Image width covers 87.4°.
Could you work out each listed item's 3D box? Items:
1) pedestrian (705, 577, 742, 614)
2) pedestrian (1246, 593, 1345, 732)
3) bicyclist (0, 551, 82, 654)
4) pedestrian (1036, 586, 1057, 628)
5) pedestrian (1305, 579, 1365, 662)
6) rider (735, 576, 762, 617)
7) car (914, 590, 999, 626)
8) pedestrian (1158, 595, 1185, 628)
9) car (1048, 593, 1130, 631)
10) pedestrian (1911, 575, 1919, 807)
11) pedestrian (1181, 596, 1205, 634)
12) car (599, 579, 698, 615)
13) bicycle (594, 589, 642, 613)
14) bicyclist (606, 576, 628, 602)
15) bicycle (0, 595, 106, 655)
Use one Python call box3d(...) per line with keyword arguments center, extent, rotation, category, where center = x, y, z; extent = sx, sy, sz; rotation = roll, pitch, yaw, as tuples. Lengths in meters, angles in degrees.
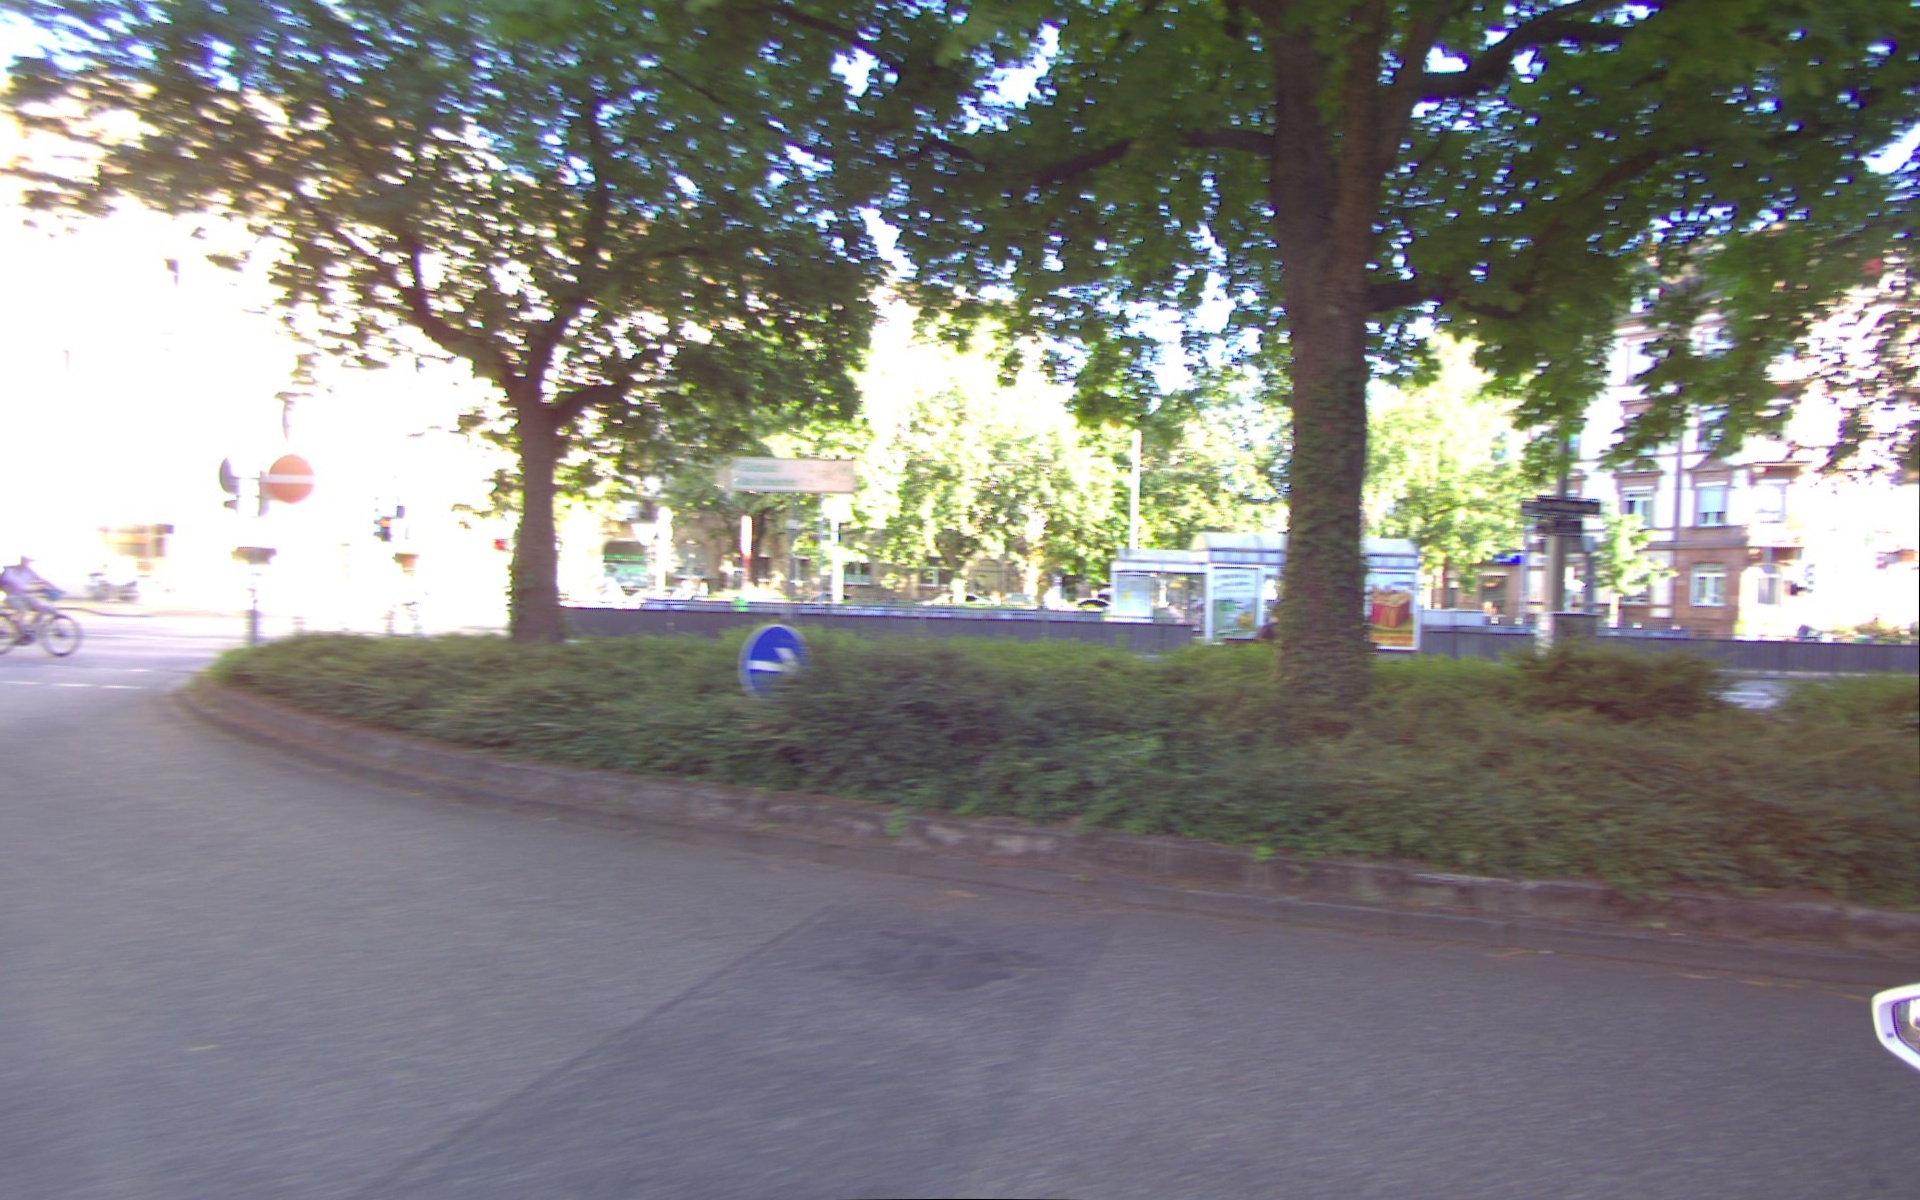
box3d(center=(-12.603, -0.249, 53.533), extent=(1.482, 1.937, 1.245), rotation=(1, 1, -41), category="pedestrian")
box3d(center=(4.350, 0.780, 13.054), extent=(0.812, 1.706, 0.889), rotation=(1, 1, -39), category="pedestrian")
box3d(center=(-16.215, 0.033, 17.609), extent=(1.026, 1.739, 0.696), rotation=(2, 1, 3), category="bicyclist")
box3d(center=(3.626, 0.295, 42.082), extent=(0.691, 1.717, 0.670), rotation=(4, 1, -5), category="pedestrian")
box3d(center=(8.986, 0.473, 24.084), extent=(1.000, 1.923, 0.911), rotation=(2, 1, -5), category="pedestrian")
box3d(center=(-9.141, -0.153, 43.367), extent=(0.806, 1.704, 0.670), rotation=(4, 2, 27), category="rider")
box3d(center=(-0.169, 0.399, 51.231), extent=(3.897, 1.702, 1.941), rotation=(1, 1, -27), category="car")
box3d(center=(11.056, 0.583, 52.474), extent=(1.046, 1.652, 1.001), rotation=(1, 1, -11), category="pedestrian")
box3d(center=(6.829, 0.619, 53.372), extent=(3.927, 1.896, 1.997), rotation=(2, 1, -8), category="car")
box3d(center=(7.171, 0.635, 6.745), extent=(0.901, 1.706, 0.779), rotation=(2, 1, 27), category="pedestrian")
box3d(center=(9.912, 0.633, 42.780), extent=(0.796, 1.564, 0.821), rotation=(4, 1, 6), category="pedestrian")
box3d(center=(-13.565, -0.107, 43.874), extent=(1.874, 1.458, 3.685), rotation=(2, 1, 43), category="car")
box3d(center=(-14.032, 0.056, 41.261), extent=(0.646, 0.958, 1.731), rotation=(3, 1, 44), category="bicycle")
box3d(center=(-14.067, -0.450, 41.201), extent=(0.604, 1.068, 0.673), rotation=(2, 1, 44), category="bicyclist")
box3d(center=(-16.210, 0.426, 17.567), extent=(1.942, 0.971, 0.771), rotation=(2, 1, 3), category="bicycle")
